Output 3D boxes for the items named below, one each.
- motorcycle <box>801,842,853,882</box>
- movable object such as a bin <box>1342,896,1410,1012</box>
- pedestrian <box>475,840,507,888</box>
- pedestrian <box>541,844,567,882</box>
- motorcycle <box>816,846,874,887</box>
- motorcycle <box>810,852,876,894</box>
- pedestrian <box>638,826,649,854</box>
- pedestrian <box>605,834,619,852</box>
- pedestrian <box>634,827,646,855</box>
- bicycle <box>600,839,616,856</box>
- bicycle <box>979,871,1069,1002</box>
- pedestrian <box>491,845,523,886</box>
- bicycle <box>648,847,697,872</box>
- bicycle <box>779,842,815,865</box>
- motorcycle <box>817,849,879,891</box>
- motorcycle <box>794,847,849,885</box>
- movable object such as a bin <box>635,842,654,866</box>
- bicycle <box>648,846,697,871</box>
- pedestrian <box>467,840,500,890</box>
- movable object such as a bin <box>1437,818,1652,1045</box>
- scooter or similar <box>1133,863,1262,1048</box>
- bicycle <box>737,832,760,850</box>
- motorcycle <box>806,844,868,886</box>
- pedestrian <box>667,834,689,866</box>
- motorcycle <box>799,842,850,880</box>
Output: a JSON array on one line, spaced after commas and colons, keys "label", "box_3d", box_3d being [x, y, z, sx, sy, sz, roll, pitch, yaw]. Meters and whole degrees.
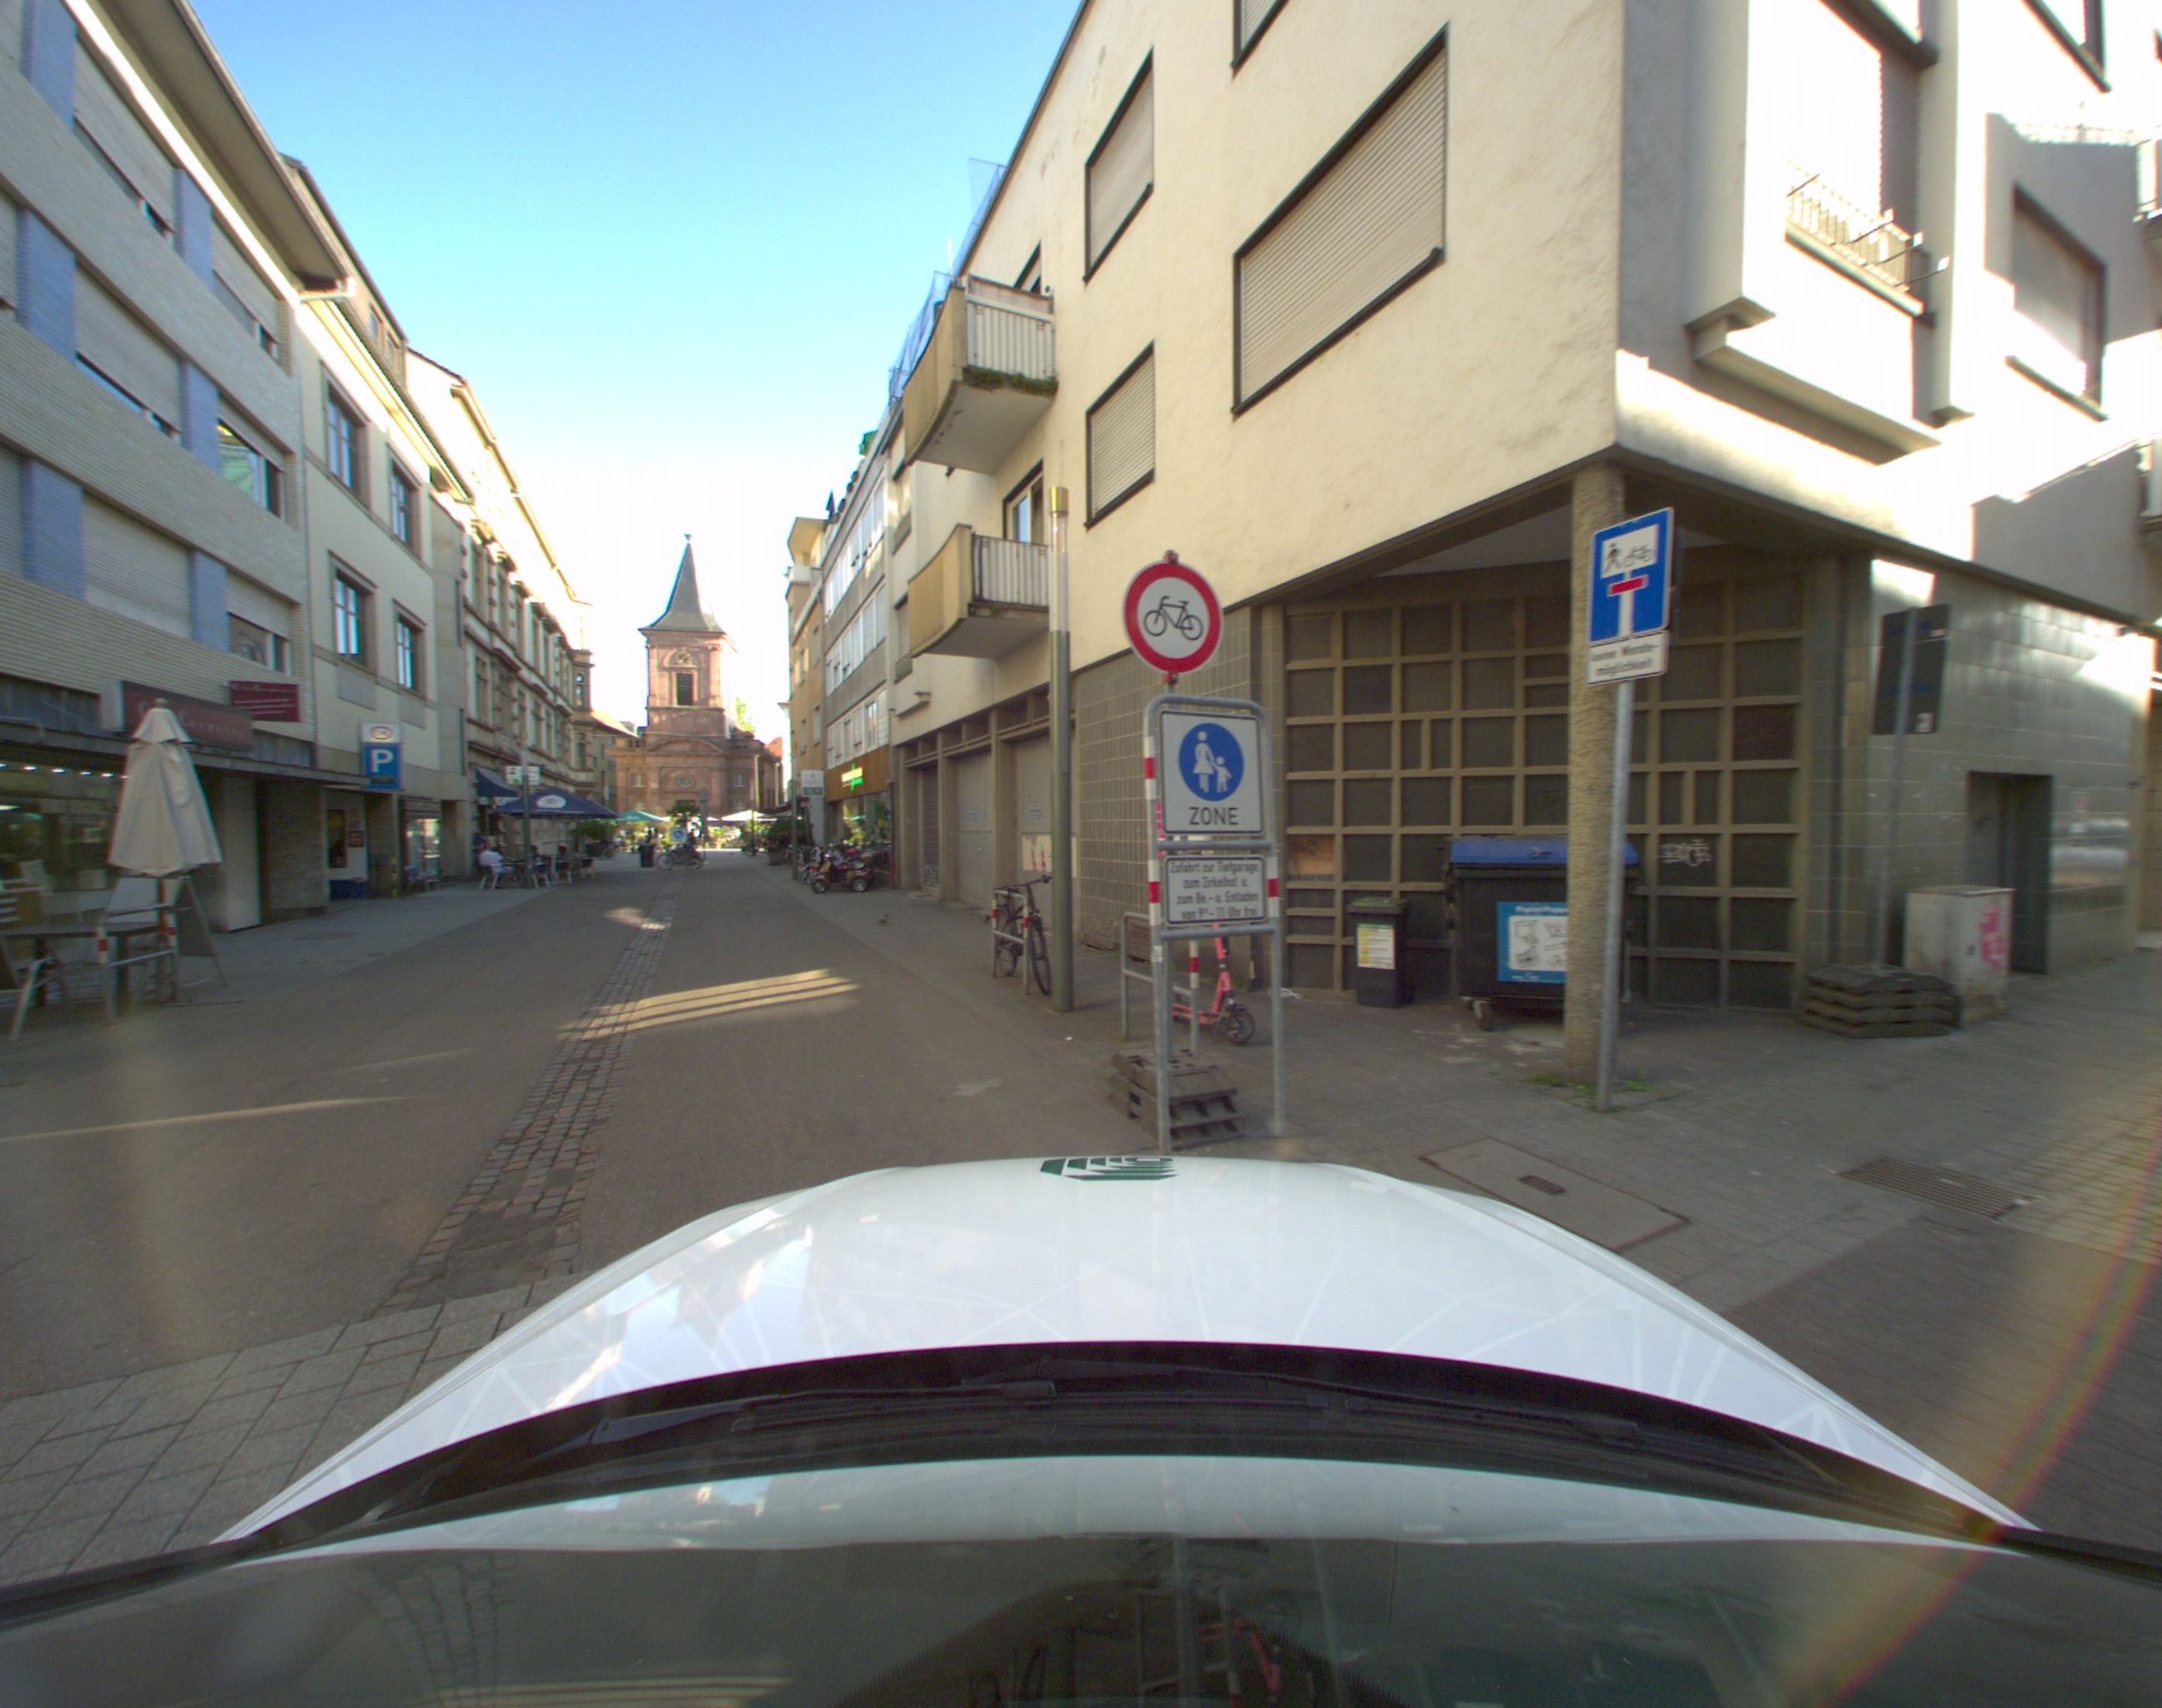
[{"label": "motorcycle", "box_3d": [-7.837, 0.248, 25.158, 1.484, 1.181, 0.411, -1, 1, -11]}, {"label": "movable object such as a bin", "box_3d": [2.569, 0.850, 7.131, 0.535, 0.923, 0.516, 0, 2, 17]}, {"label": "pedestrian", "box_3d": [-17.323, 0.273, 23.909, 0.723, 1.368, 0.702, -2, 2, -38]}, {"label": "pedestrian", "box_3d": [-17.214, 0.294, 26.597, 0.697, 1.215, 0.577, -1, 2, -34]}, {"label": "motorcycle", "box_3d": [-6.579, 0.345, 22.765, 1.482, 1.075, 0.411, -1, 1, -8]}, {"label": "motorcycle", "box_3d": [-6.115, 0.478, 20.982, 1.563, 1.041, 0.371, -1, 1, -8]}, {"label": "pedestrian", "box_3d": [-28.611, -0.919, 53.219, 0.618, 1.808, 0.609, -1, 2, -30]}, {"label": "pedestrian", "box_3d": [-32.333, -0.748, 56.122, 0.703, 1.217, 0.715, -1, 2, -20]}, {"label": "pedestrian", "box_3d": [-29.103, -0.863, 53.731, 0.618, 1.808, 0.609, -1, 2, -30]}, {"label": "bicycle", "box_3d": [-25.494, -0.376, 43.924, 0.458, 0.849, 2.131, -1, 2, -22]}, {"label": "bicycle", "box_3d": [-0.615, 0.767, 8.237, 0.448, 1.139, 1.698, 0, 0, -20]}, {"label": "pedestrian", "box_3d": [-17.982, 0.339, 25.525, 0.770, 1.233, 0.823, -1, 2, -34]}, {"label": "bicycle", "box_3d": [-17.183, 0.208, 34.269, 1.835, 1.004, 0.378, -1, 2, -29]}, {"label": "bicycle", "box_3d": [-12.573, -0.021, 36.116, 1.468, 1.004, 0.569, -1, 2, -19]}, {"label": "motorcycle", "box_3d": [-6.216, 0.411, 21.768, 1.515, 1.075, 0.411, -1, 1, -8]}, {"label": "motorcycle", "box_3d": [-7.769, 0.347, 24.383, 1.482, 1.075, 0.411, -1, 1, -8]}, {"label": "movable object such as a bin", "box_3d": [-19.673, -0.001, 36.736, 0.725, 1.074, 0.371, -1, 2, -27]}, {"label": "bicycle", "box_3d": [-17.366, 0.172, 34.628, 1.835, 1.004, 0.378, -1, 2, -29]}, {"label": "pedestrian", "box_3d": [-16.887, 0.305, 23.004, 0.713, 1.368, 0.712, -2, 2, -38]}, {"label": "movable object such as a bin", "box_3d": [3.573, 0.522, 6.458, 1.276, 1.588, 1.161, 0, 3, 19]}, {"label": "scooter or similar", "box_3d": [0.861, 0.713, 6.274, 0.309, 1.252, 1.227, -1, 1, -29]}, {"label": "bicycle", "box_3d": [-24.221, -0.945, 59.366, 0.361, 1.307, 1.601, 1, 2, 36]}, {"label": "motorcycle", "box_3d": [-7.095, 0.301, 23.731, 1.623, 1.175, 0.479, -1, 1, -8]}, {"label": "pedestrian", "box_3d": [-18.956, -0.213, 38.324, 0.888, 1.464, 0.725, -1, 2, -25]}, {"label": "motorcycle", "box_3d": [-8.264, 0.216, 26.259, 1.484, 1.181, 0.411, -1, 1, -11]}]
